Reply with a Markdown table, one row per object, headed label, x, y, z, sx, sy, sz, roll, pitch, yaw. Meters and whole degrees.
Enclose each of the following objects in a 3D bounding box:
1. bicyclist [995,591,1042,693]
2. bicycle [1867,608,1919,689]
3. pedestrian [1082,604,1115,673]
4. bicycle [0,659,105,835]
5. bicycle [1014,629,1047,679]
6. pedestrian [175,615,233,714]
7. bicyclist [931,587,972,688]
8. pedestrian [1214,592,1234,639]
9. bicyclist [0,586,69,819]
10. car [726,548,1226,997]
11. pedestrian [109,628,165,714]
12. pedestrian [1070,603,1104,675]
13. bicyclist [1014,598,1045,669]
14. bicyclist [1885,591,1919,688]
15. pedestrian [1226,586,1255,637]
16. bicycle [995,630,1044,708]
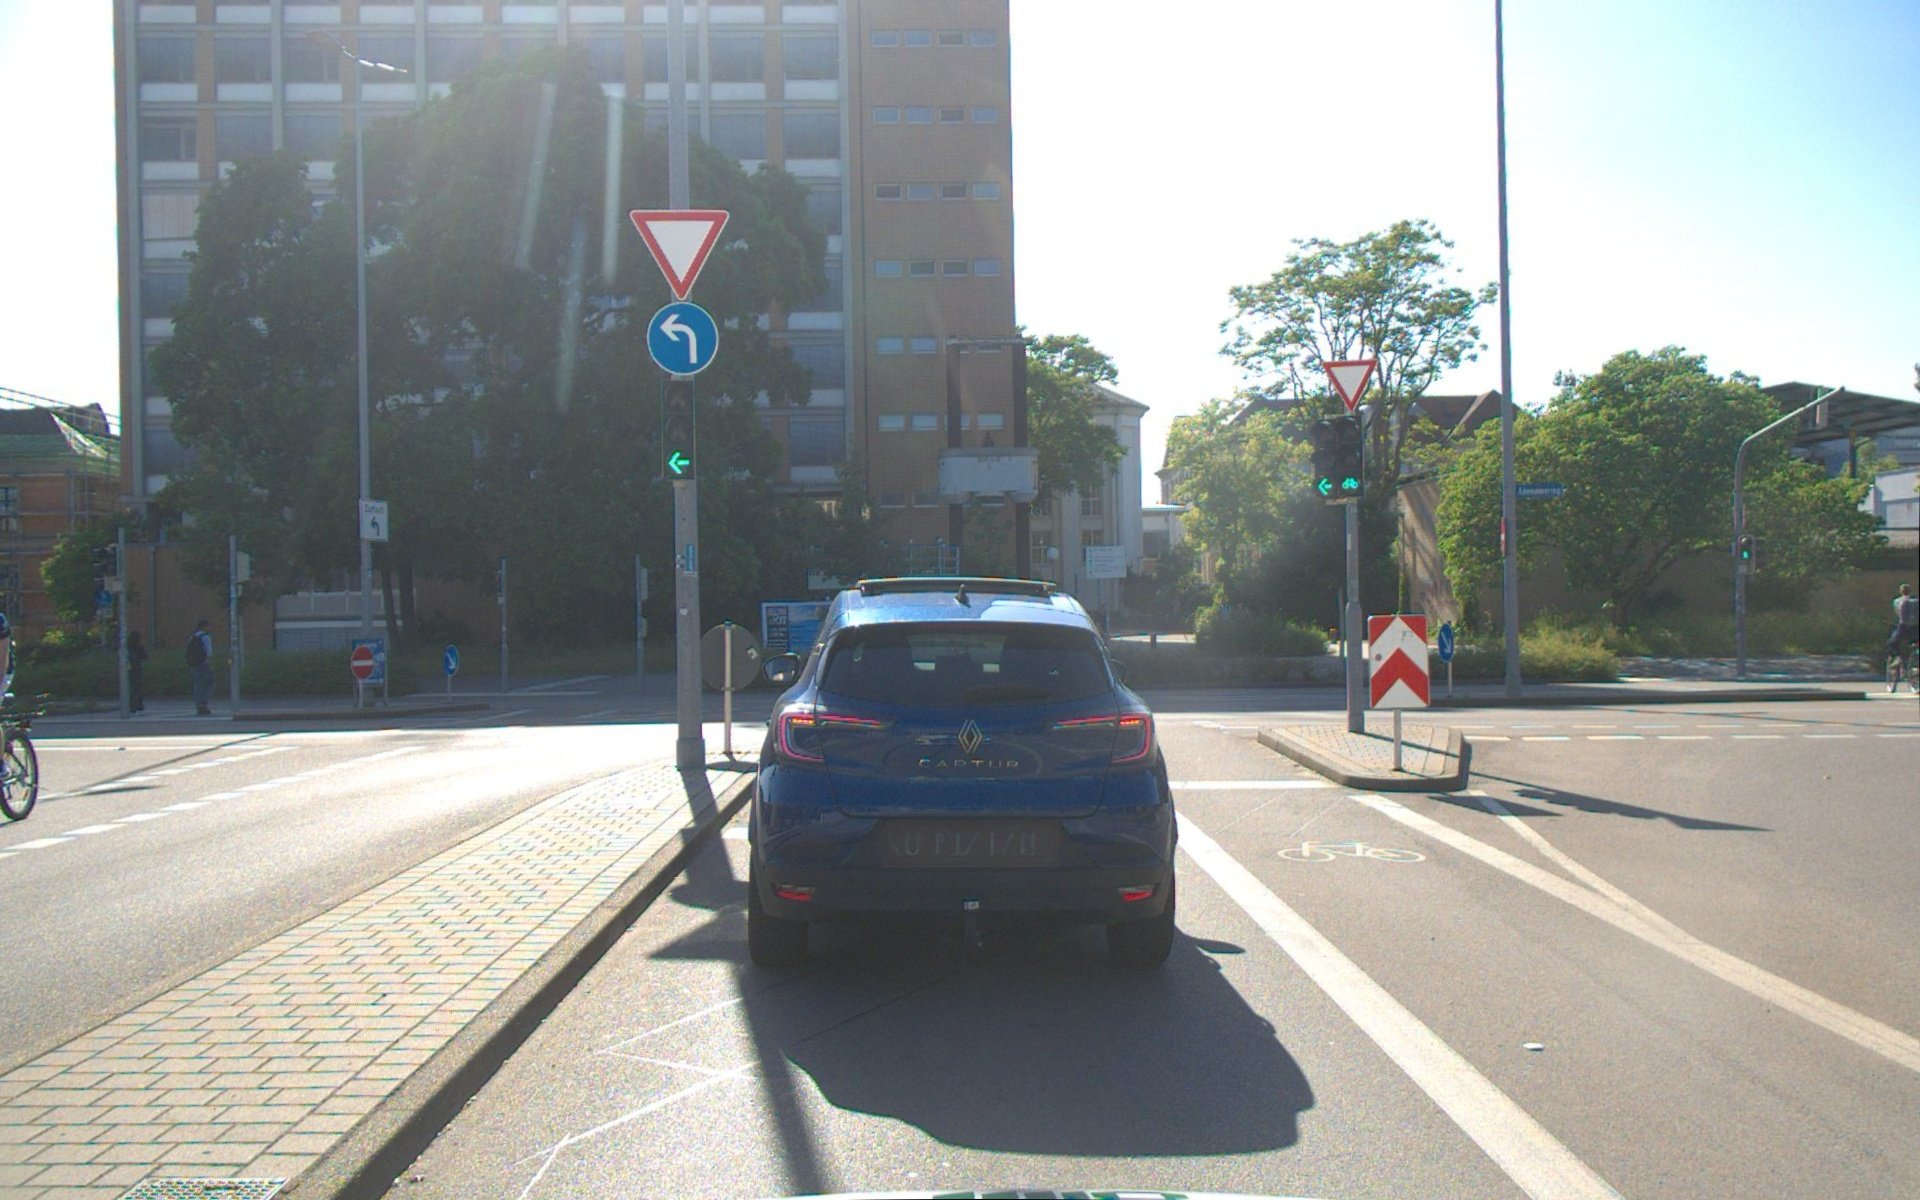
| label | x | y | z | sx | sy | sz | roll | pitch | yaw |
| --- | --- | --- | --- | --- | --- | --- | --- | --- | --- |
| bicyclist | 0.954 | 0.679 | 27.187 | 0.705 | 1.645 | 0.977 | -1 | 0 | -1 |
| bicycle | 15.113 | 0.757 | 26.103 | 0.627 | 1.185 | 1.871 | -2 | 1 | 3 |
| pedestrian | 3.698 | 1.026 | 44.050 | 0.718 | 1.813 | 0.732 | 1 | -1 | 16 |
| bicycle | -7.146 | 1.075 | 12.158 | 0.731 | 1.185 | 1.870 | -2 | 0 | -1 |
| bicycle | 1.781 | 1.354 | 41.914 | 0.730 | 1.185 | 1.870 | -1 | 0 | 0 |
| pedestrian | -14.570 | 1.234 | 31.893 | 0.740 | 1.865 | 1.093 | -1 | -2 | -9 |
| bicyclist | -0.156 | 0.675 | 30.177 | 0.705 | 1.793 | 0.977 | -1 | 0 | -1 |
| pedestrian | 9.421 | 0.559 | 59.036 | 0.661 | 1.672 | 0.736 | 1 | -1 | 13 |
| bicyclist | -7.157 | 0.738 | 12.100 | 0.705 | 1.649 | 0.977 | -2 | 0 | -1 |
| car | 0.037 | 0.651 | 8.088 | 1.838 | 1.646 | 3.797 | 1 | 0 | -1 |
| pedestrian | -15.900 | 1.368 | 31.965 | 0.703 | 1.640 | 0.681 | -2 | -1 | 29 |
| pedestrian | 3.327 | 1.000 | 43.187 | 0.718 | 1.848 | 0.732 | 1 | -1 | 16 |
| bicyclist | 1.765 | 0.829 | 41.844 | 0.705 | 1.765 | 0.977 | -1 | 0 | 0 |
| bicyclist | 15.103 | 0.605 | 26.055 | 0.628 | 1.469 | 0.777 | -2 | 1 | 3 |
| pedestrian | 9.466 | 0.387 | 55.810 | 0.666 | 1.672 | 0.731 | 0 | -1 | 42 |
| bicycle | 0.967 | 1.108 | 27.165 | 0.701 | 1.185 | 1.870 | -1 | 0 | -1 |
